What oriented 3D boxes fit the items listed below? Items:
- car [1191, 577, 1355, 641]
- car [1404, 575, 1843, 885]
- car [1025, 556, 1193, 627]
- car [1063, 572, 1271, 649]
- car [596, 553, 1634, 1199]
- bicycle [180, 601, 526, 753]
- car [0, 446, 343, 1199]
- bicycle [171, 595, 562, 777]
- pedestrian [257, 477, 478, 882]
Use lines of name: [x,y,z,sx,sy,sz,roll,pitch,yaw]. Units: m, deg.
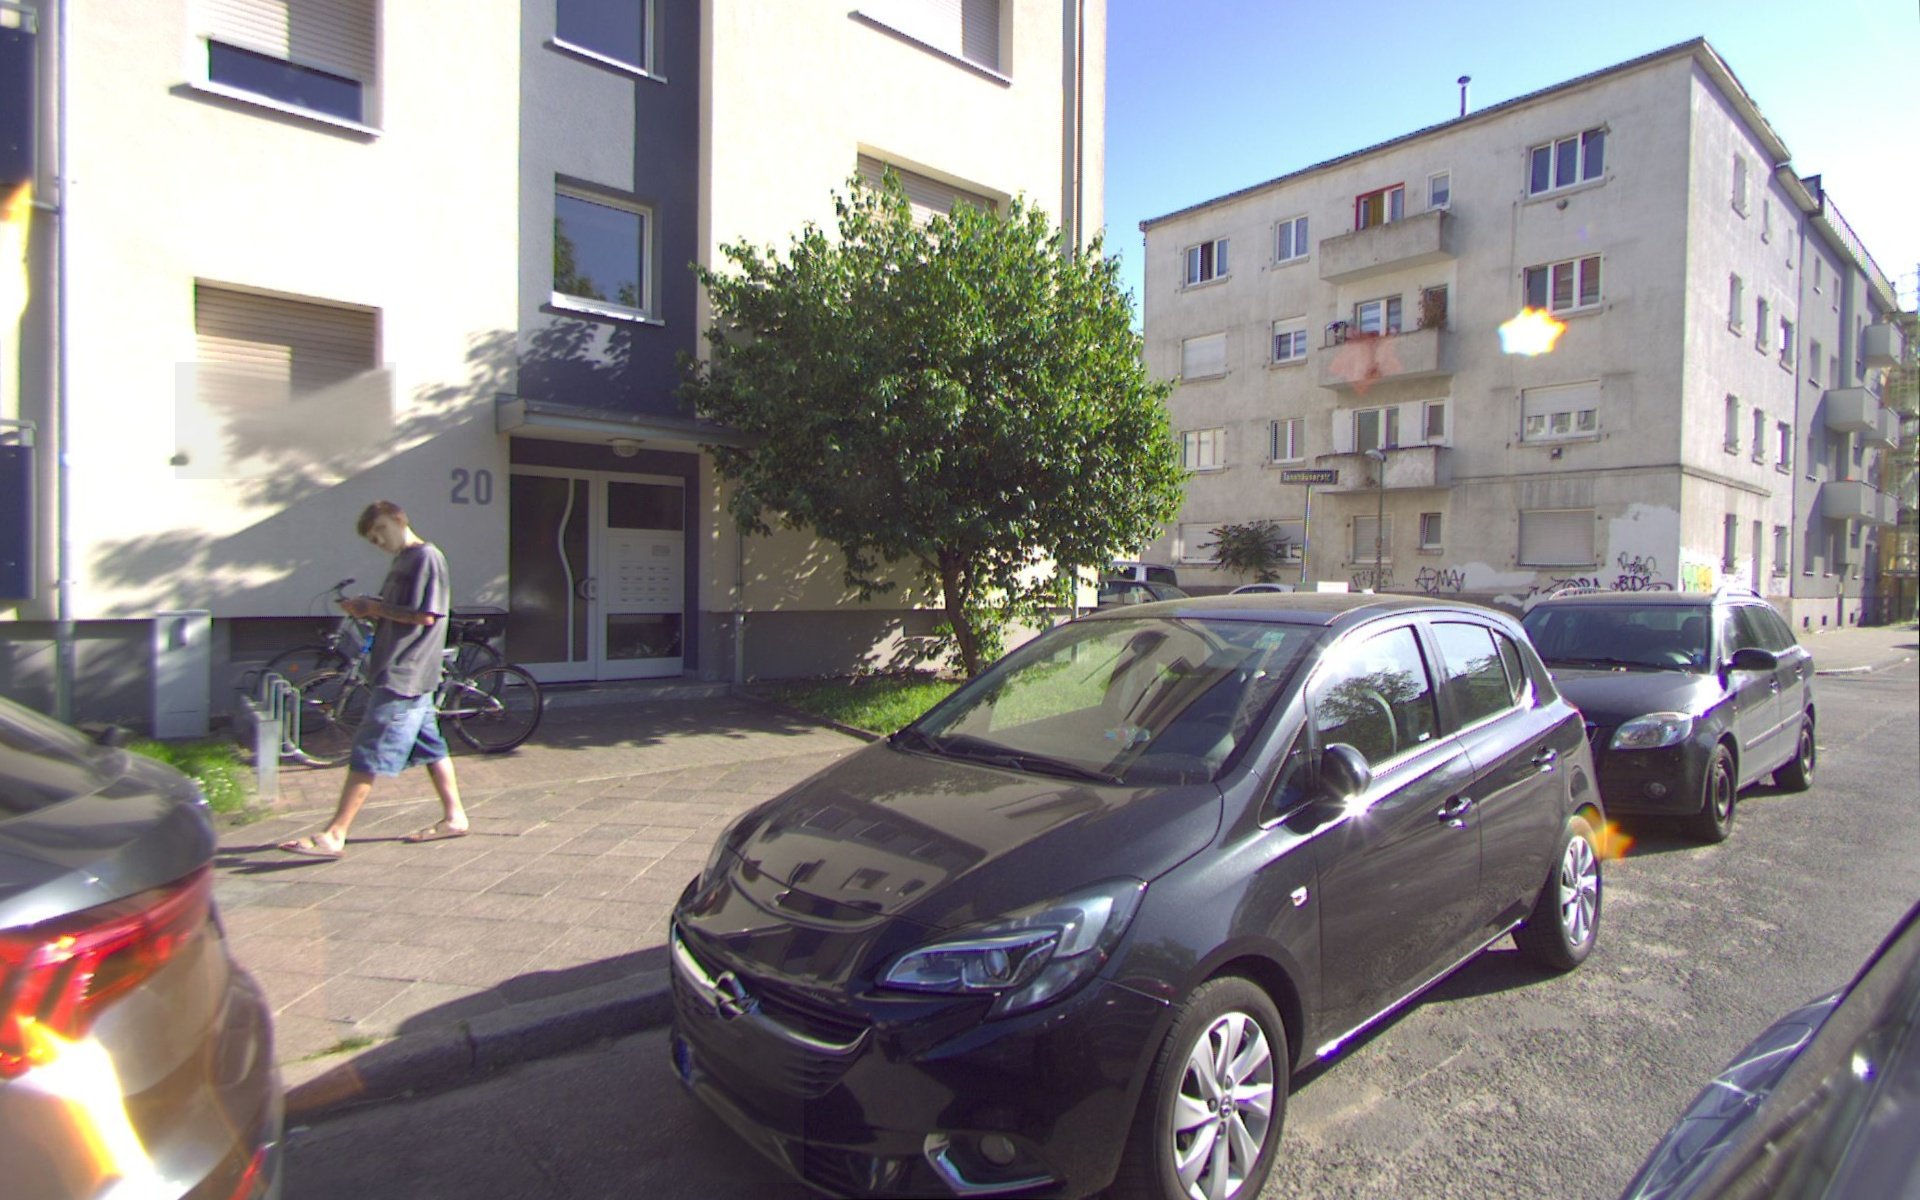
car: [7.935,0.184,25.888,1.661,1.477,3.718,1,1,-39]
car: [4.868,0.626,7.190,4.015,1.567,1.620,-2,2,-42]
car: [4.347,-0.288,30.210,1.922,1.958,4.850,1,1,-41]
car: [4.253,0.176,21.281,1.771,1.433,4.043,3,0,-41]
car: [0.869,0.622,3.560,3.732,1.503,1.607,-1,2,-41]
bicycle: [-4.579,0.525,7.809,2.246,0.972,0.485,-1,3,-44]
car: [-2.940,0.647,0.578,4.183,1.578,1.754,-1,1,-43]
bicycle: [-3.922,0.503,6.885,2.246,1.024,0.485,-1,3,-44]
pedestrian: [-2.926,0.341,5.006,0.826,1.793,0.646,-1,1,-42]
